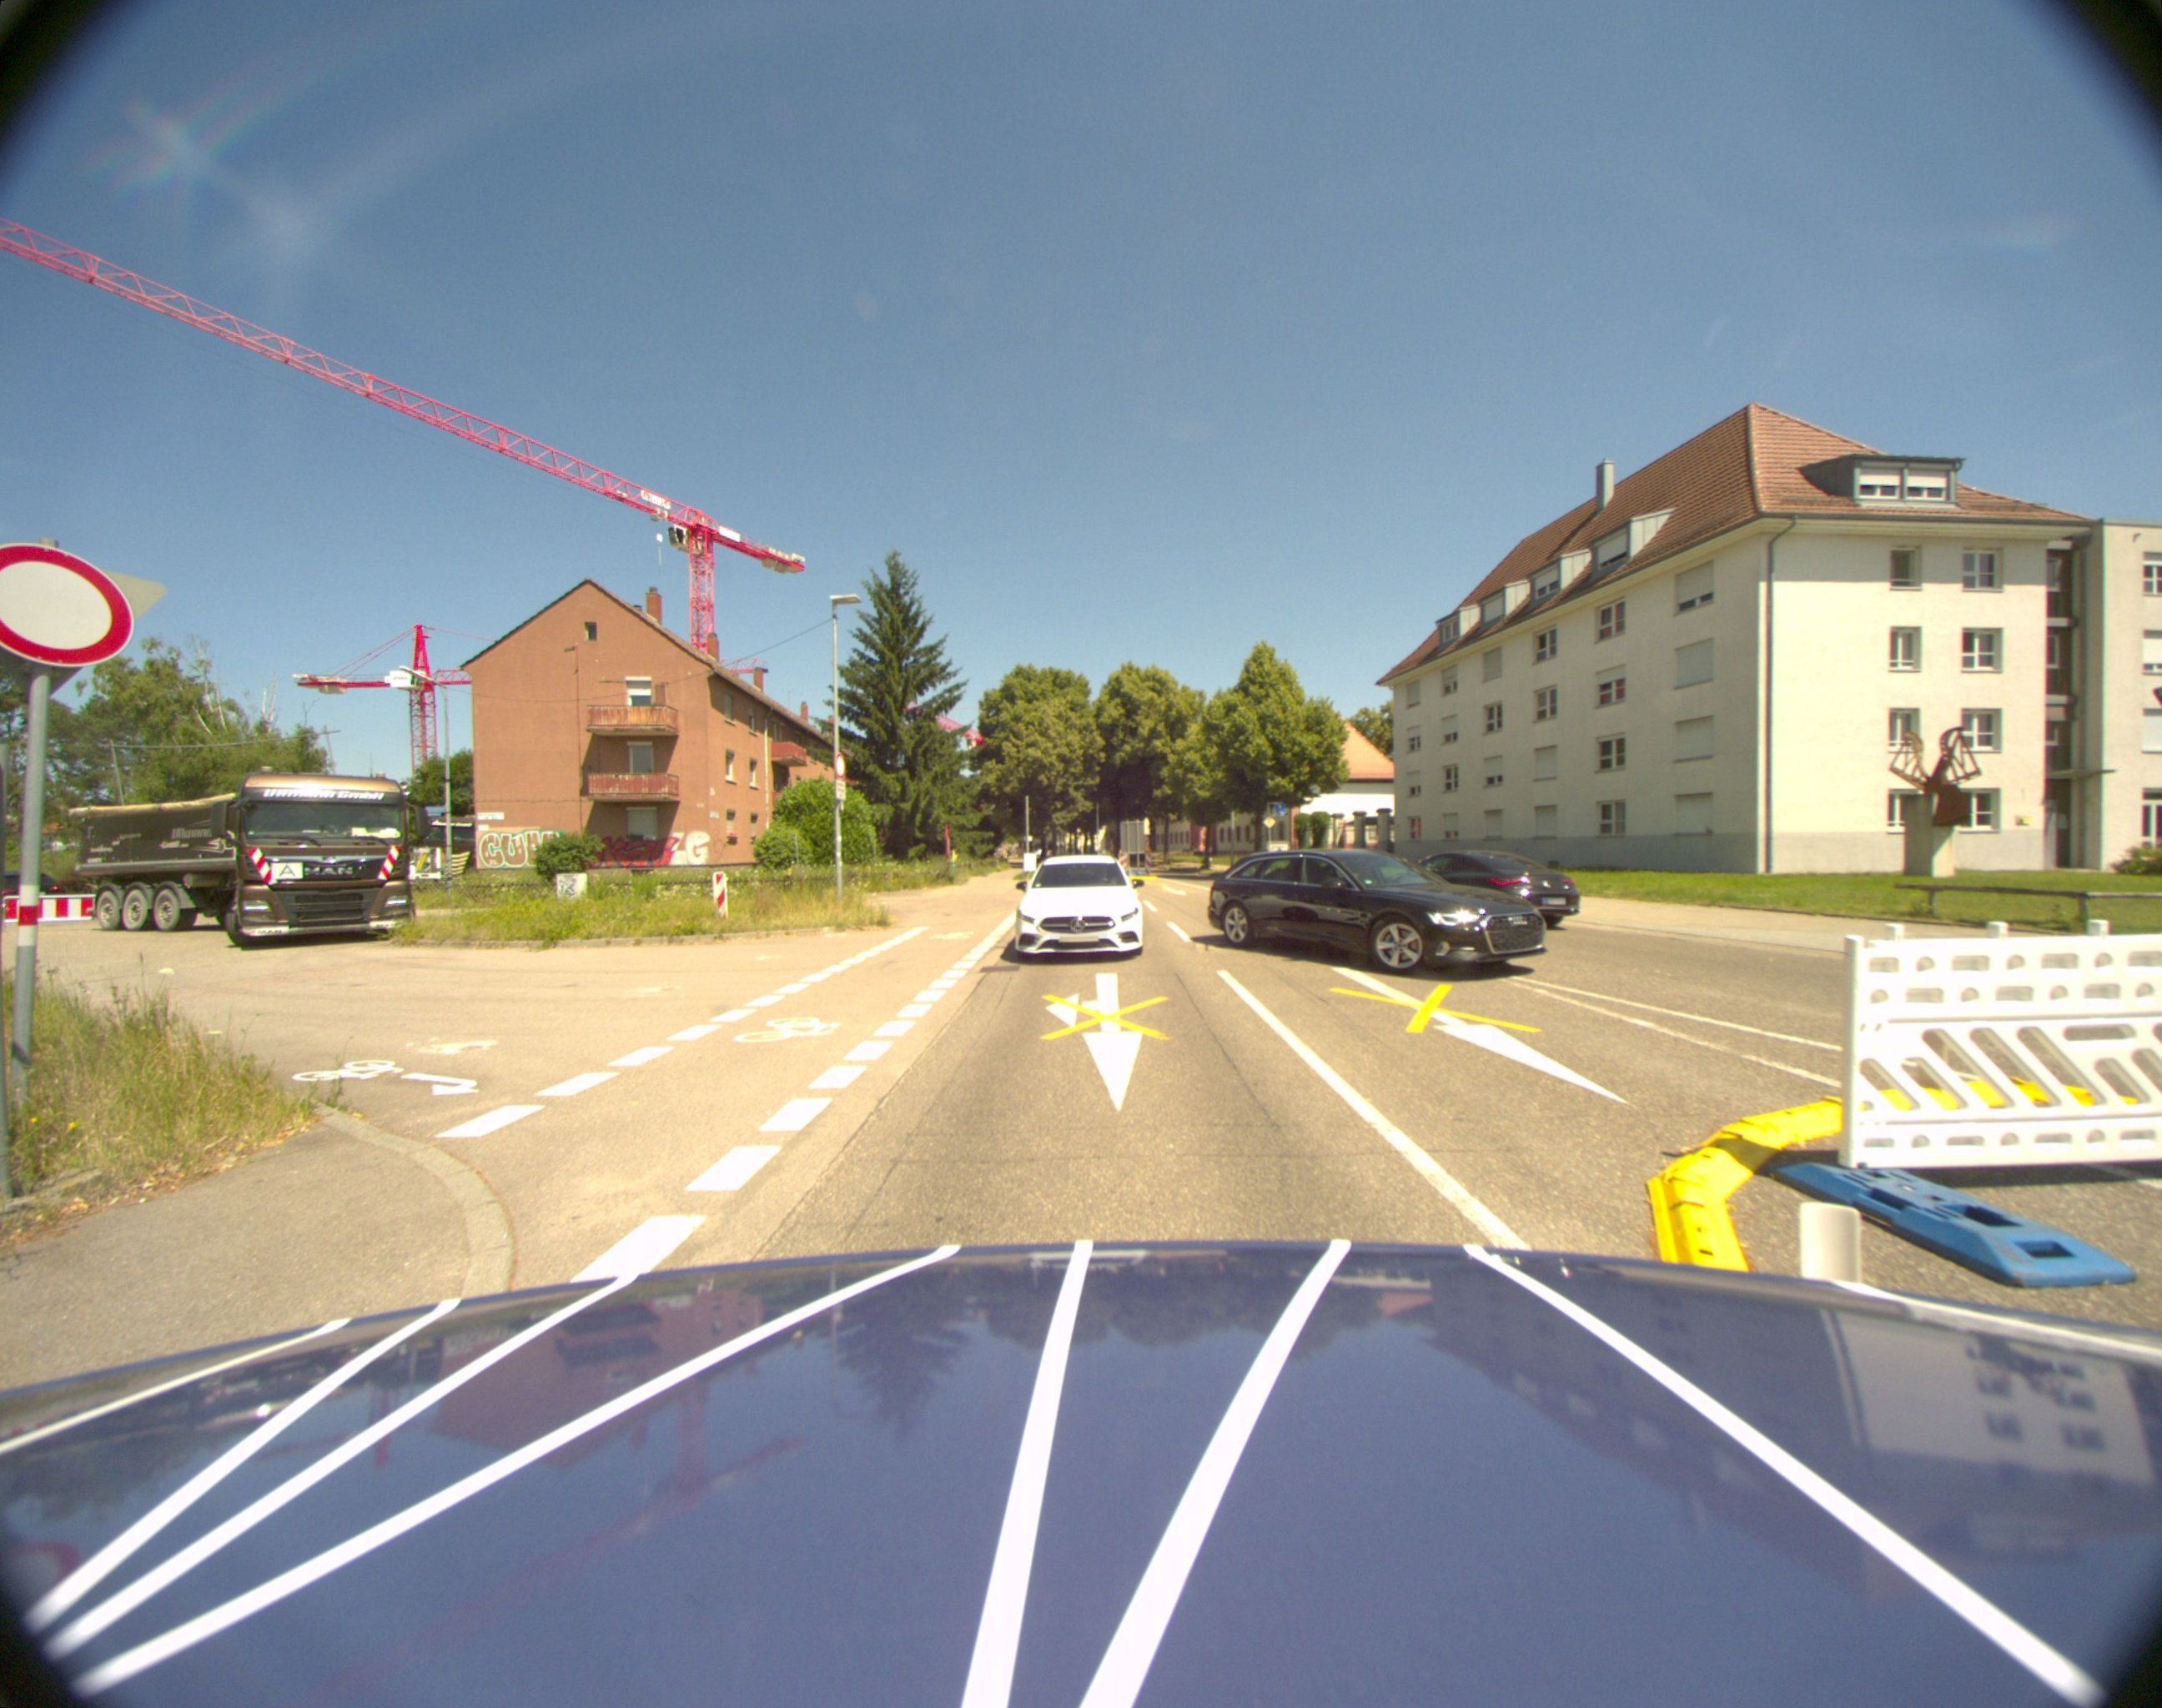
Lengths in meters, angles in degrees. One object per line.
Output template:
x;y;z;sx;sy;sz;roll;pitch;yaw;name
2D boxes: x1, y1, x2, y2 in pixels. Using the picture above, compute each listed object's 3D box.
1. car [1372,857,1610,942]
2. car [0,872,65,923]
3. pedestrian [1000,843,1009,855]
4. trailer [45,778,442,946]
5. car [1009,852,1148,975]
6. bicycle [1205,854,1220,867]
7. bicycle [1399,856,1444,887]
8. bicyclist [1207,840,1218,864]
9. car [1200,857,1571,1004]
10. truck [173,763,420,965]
7.820;0.776;15.129;1.821;1.395;4.631;0;0;-7;car
-36.291;1.426;25.481;3.412;1.604;1.371;-1;1;13;car
-9.905;-0.664;98.311;1.024;1.509;0.682;-1;1;1;pedestrian
-20.701;0.207;18.808;8.973;3.512;3.169;-1;1;18;trailer
-0.066;0.777;11.944;1.780;1.536;3.962;-2;1;-1;car
9.069;0.440;52.471;0.562;0.910;1.907;-1;1;-5;bicycle
12.528;0.614;28.010;0.709;1.018;1.985;-4;1;0;bicycle
9.069;-0.150;52.395;0.568;1.601;0.740;-1;1;-5;bicyclist
3.607;0.779;10.053;1.804;1.443;4.609;-1;0;-24;car
-16.503;0.169;16.079;4.950;3.512;3.171;0;1;43;truck
